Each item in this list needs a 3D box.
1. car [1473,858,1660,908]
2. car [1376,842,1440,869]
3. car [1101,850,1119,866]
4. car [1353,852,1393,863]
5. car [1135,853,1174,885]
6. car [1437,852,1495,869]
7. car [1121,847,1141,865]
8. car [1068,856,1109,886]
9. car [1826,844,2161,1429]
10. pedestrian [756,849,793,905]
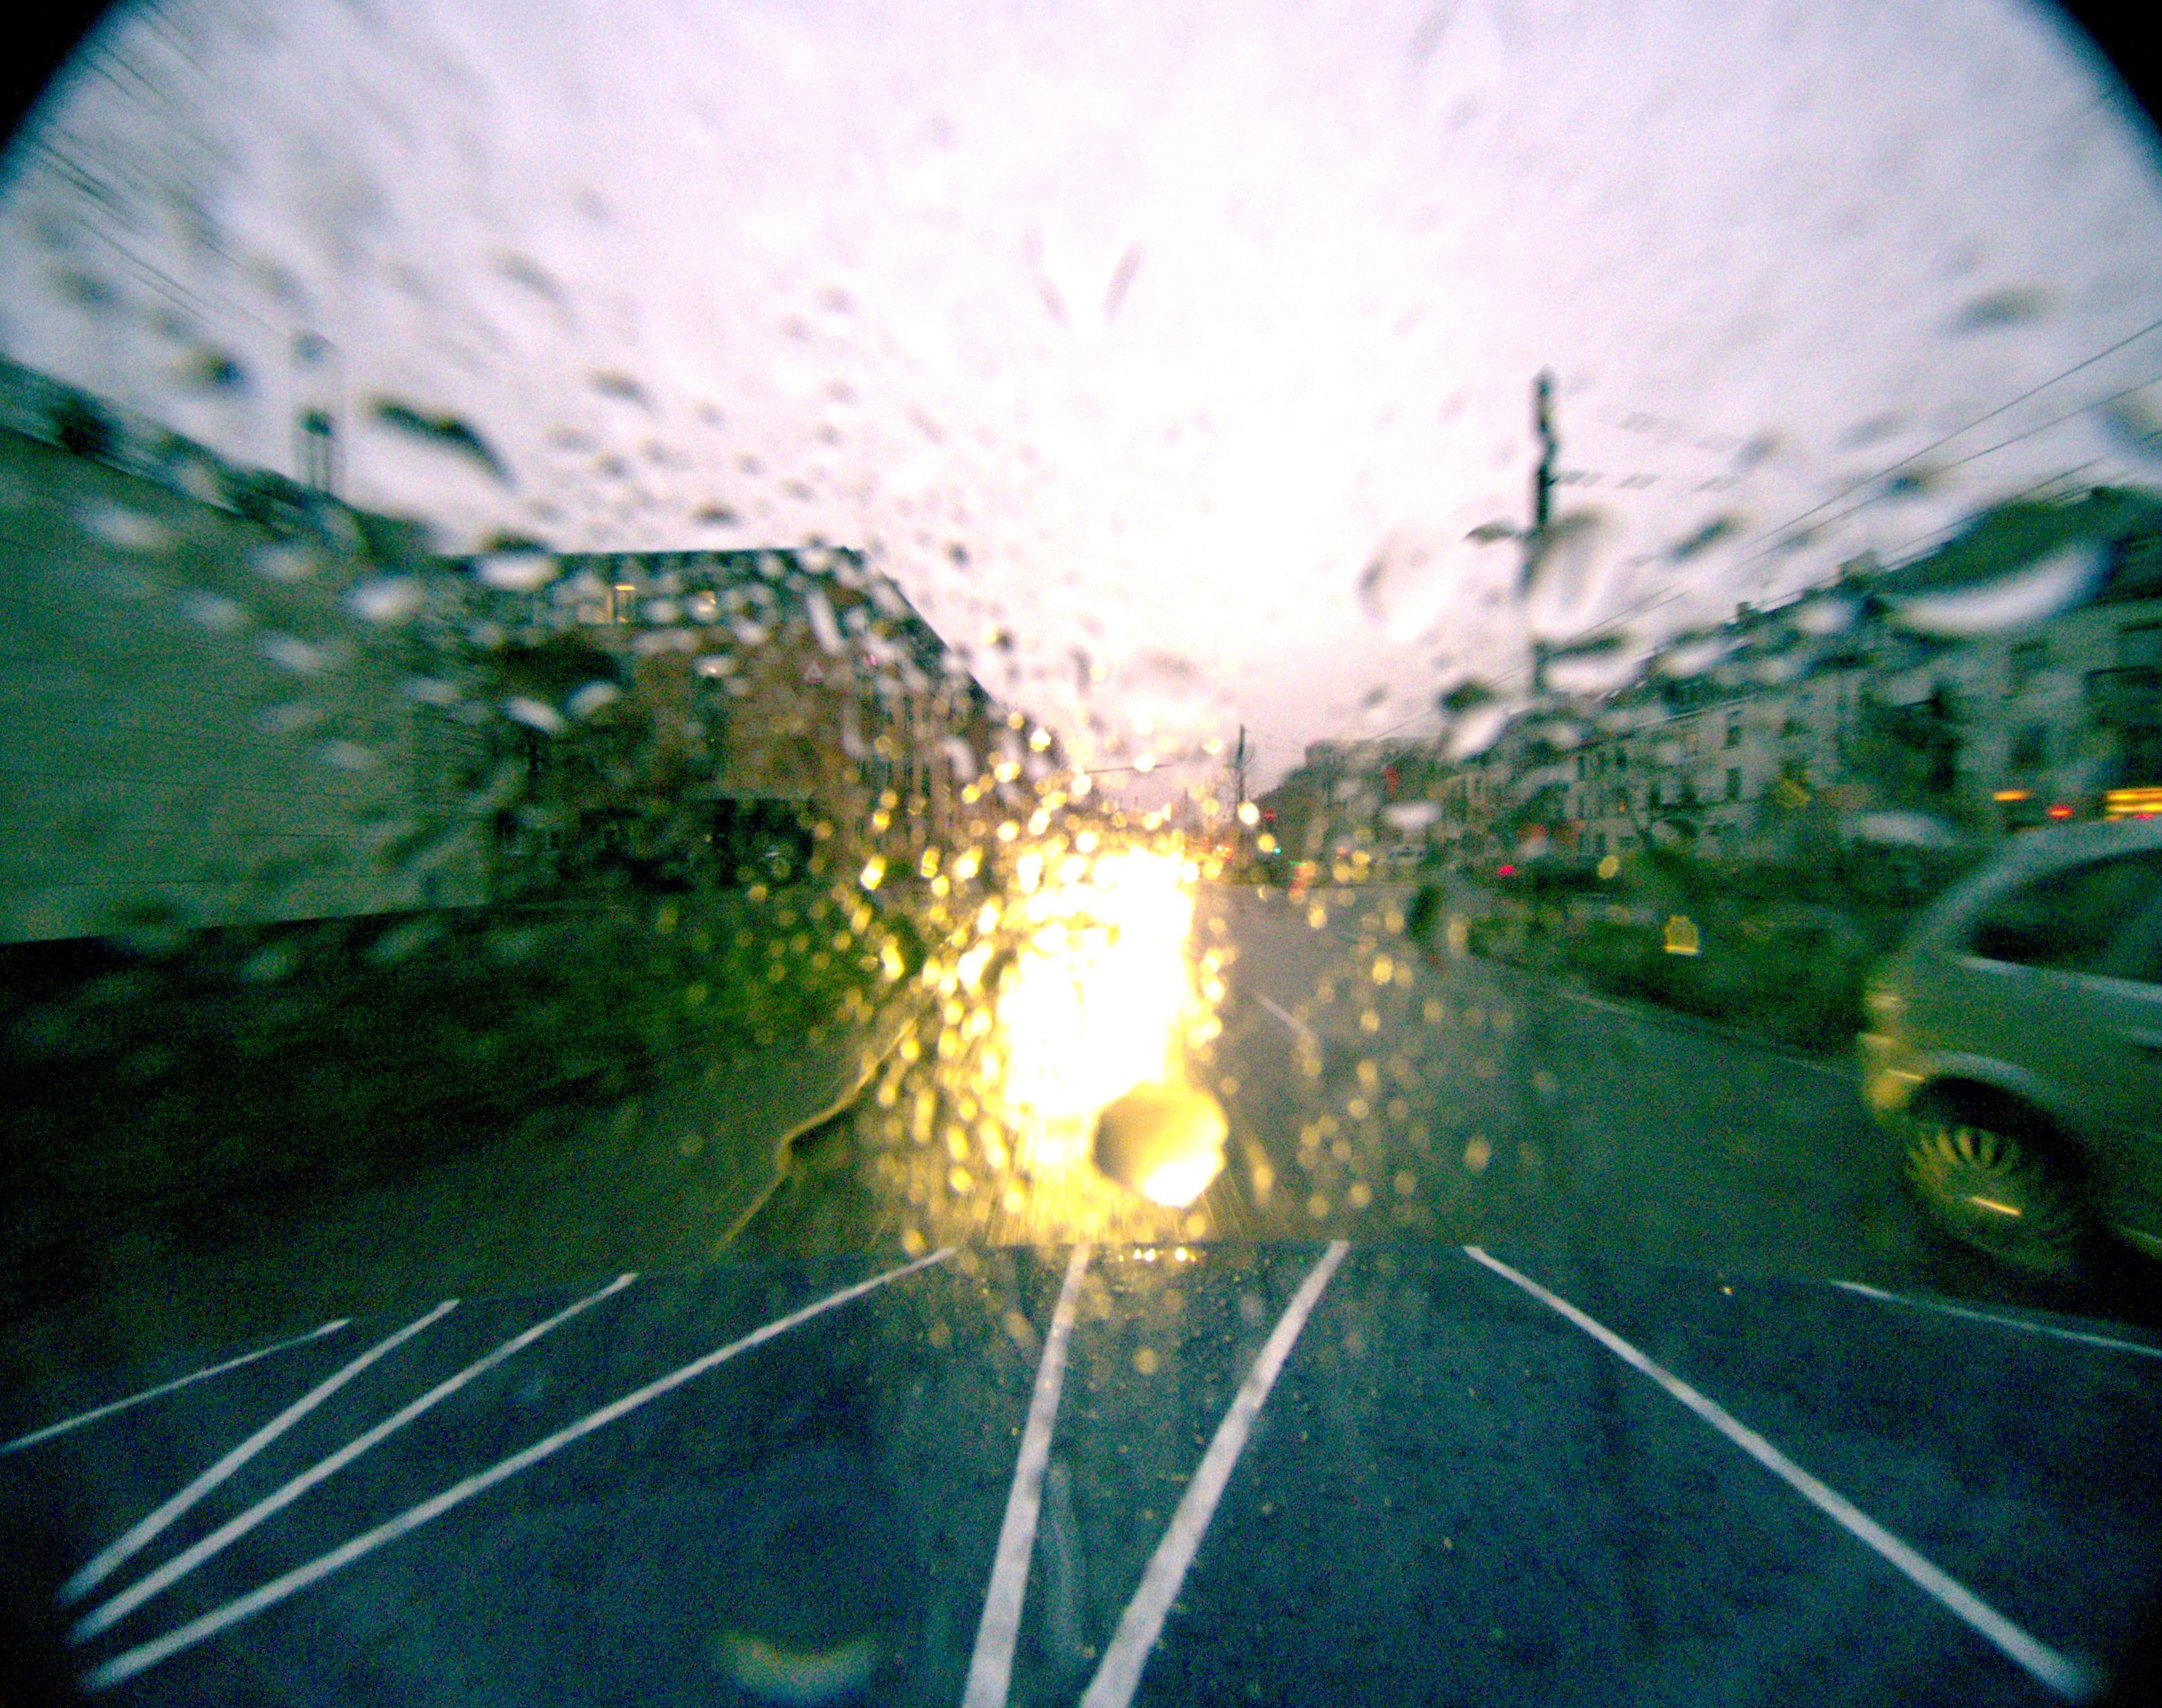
[{"bbox_3d":[15.206,0.893,24.117,4.813,1.421,1.818,-1,1,29],"label":"car"},{"bbox_3d":[34.195,0.141,79.557,2.004,2.781,5.850,-1,1,-45],"label":"car"},{"bbox_3d":[3.300,0.461,85.668,1.998,1.745,4.001,0,0,3],"label":"car"},{"bbox_3d":[34.733,0.421,90.456,3.988,1.324,2.004,1,1,39],"label":"car"},{"bbox_3d":[3.653,0.714,38.222,1.813,1.488,4.054,-1,0,4],"label":"car"},{"bbox_3d":[32.597,0.542,64.300,3.988,1.324,2.004,1,1,41],"label":"car"},{"bbox_3d":[5.191,0.191,78.739,1.998,1.745,4.001,0,0,3],"label":"car"},{"bbox_3d":[0.455,0.823,38.686,1.813,1.384,4.054,-1,0,4],"label":"car"},{"bbox_3d":[3.849,0.779,0.994,1.813,1.591,4.053,-1,0,1],"label":"car"},{"bbox_3d":[-8.934,0.645,22.168,0.622,1.601,1.067,0,1,0],"label":"pedestrian"}]
